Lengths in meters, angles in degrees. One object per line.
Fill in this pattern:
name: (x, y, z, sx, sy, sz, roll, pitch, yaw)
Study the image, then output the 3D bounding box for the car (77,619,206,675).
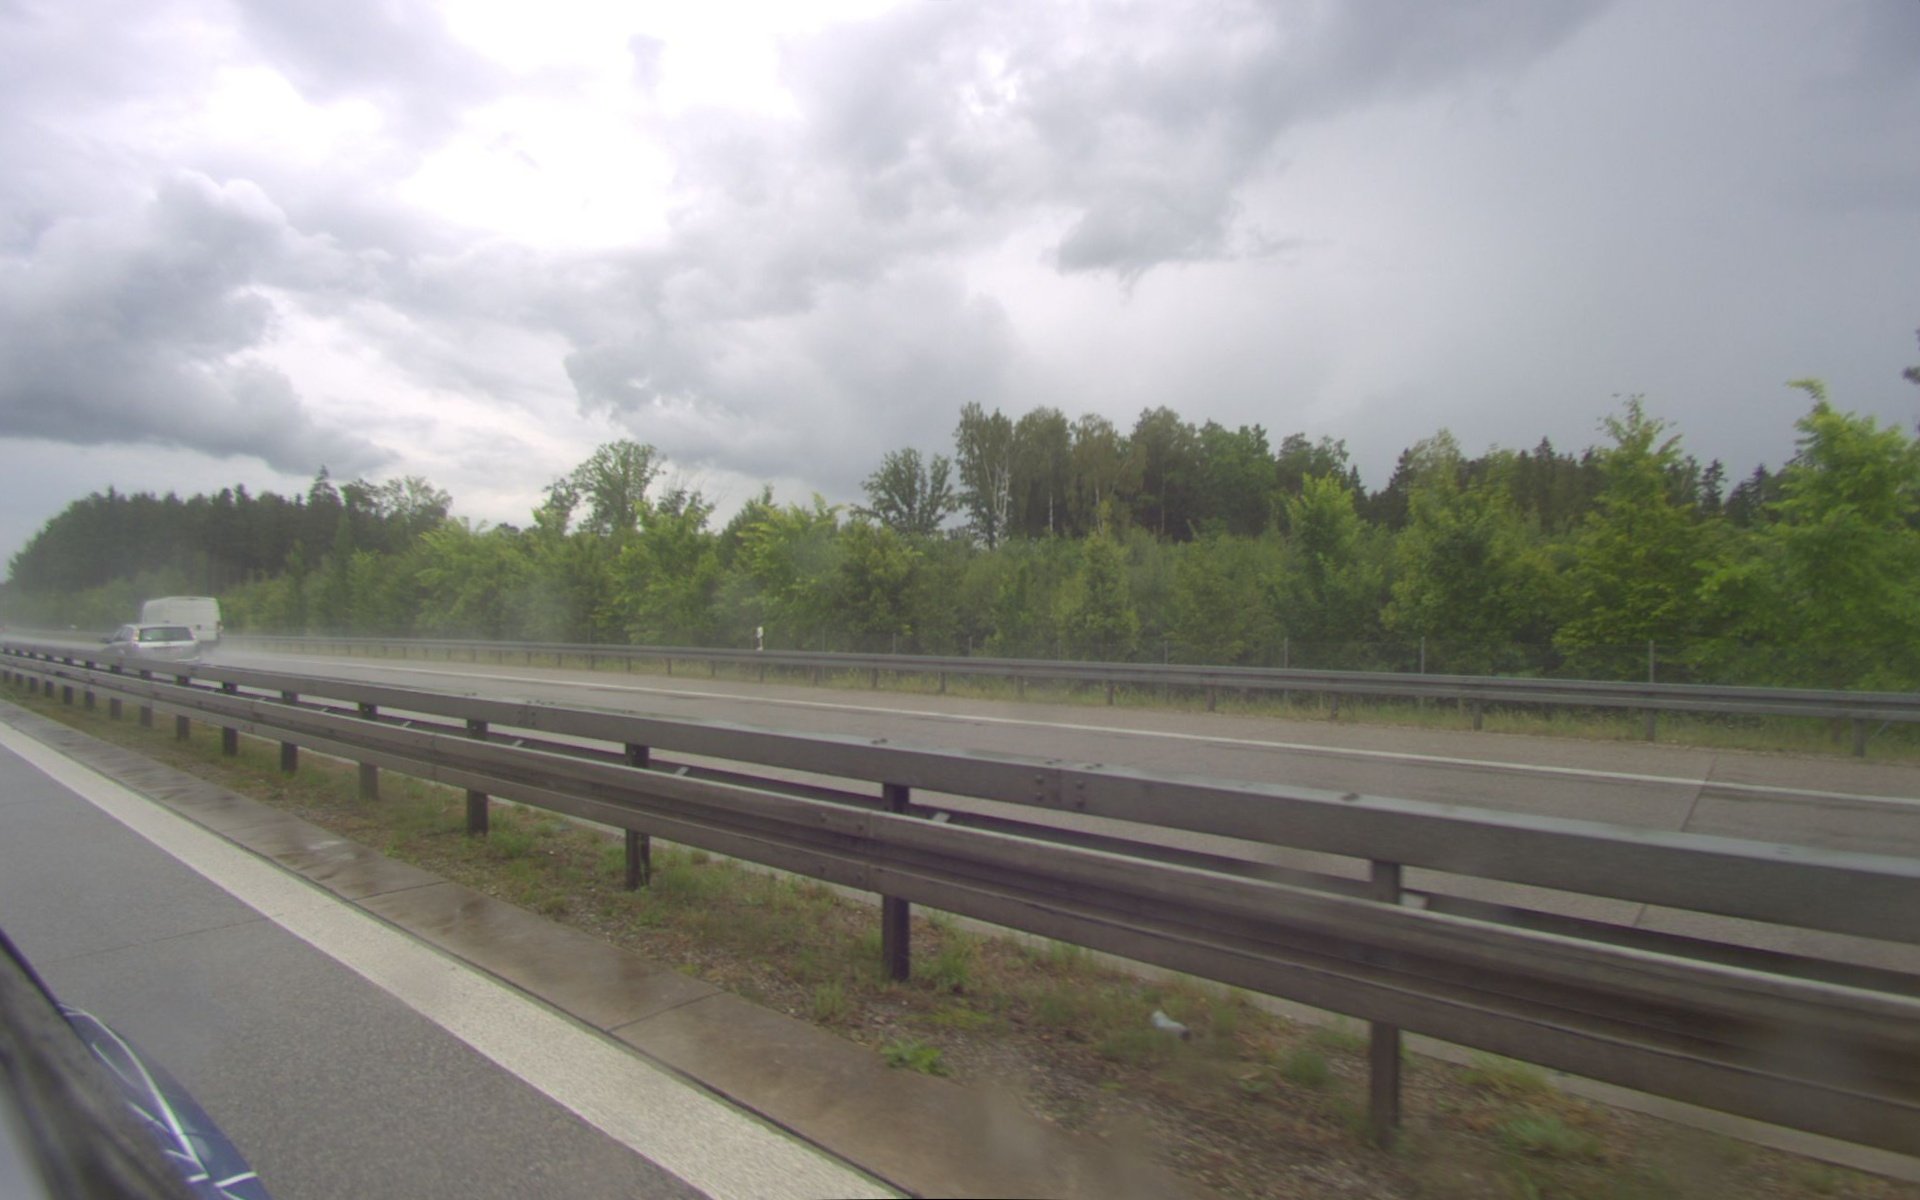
car: (-22.840, 1.288, 28.184, 4.599, 1.429, 1.751, -2, -3, 38)

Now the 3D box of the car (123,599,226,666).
car: (-35.354, 1.451, 45.463, 6.871, 2.770, 2.326, -2, -2, 41)
